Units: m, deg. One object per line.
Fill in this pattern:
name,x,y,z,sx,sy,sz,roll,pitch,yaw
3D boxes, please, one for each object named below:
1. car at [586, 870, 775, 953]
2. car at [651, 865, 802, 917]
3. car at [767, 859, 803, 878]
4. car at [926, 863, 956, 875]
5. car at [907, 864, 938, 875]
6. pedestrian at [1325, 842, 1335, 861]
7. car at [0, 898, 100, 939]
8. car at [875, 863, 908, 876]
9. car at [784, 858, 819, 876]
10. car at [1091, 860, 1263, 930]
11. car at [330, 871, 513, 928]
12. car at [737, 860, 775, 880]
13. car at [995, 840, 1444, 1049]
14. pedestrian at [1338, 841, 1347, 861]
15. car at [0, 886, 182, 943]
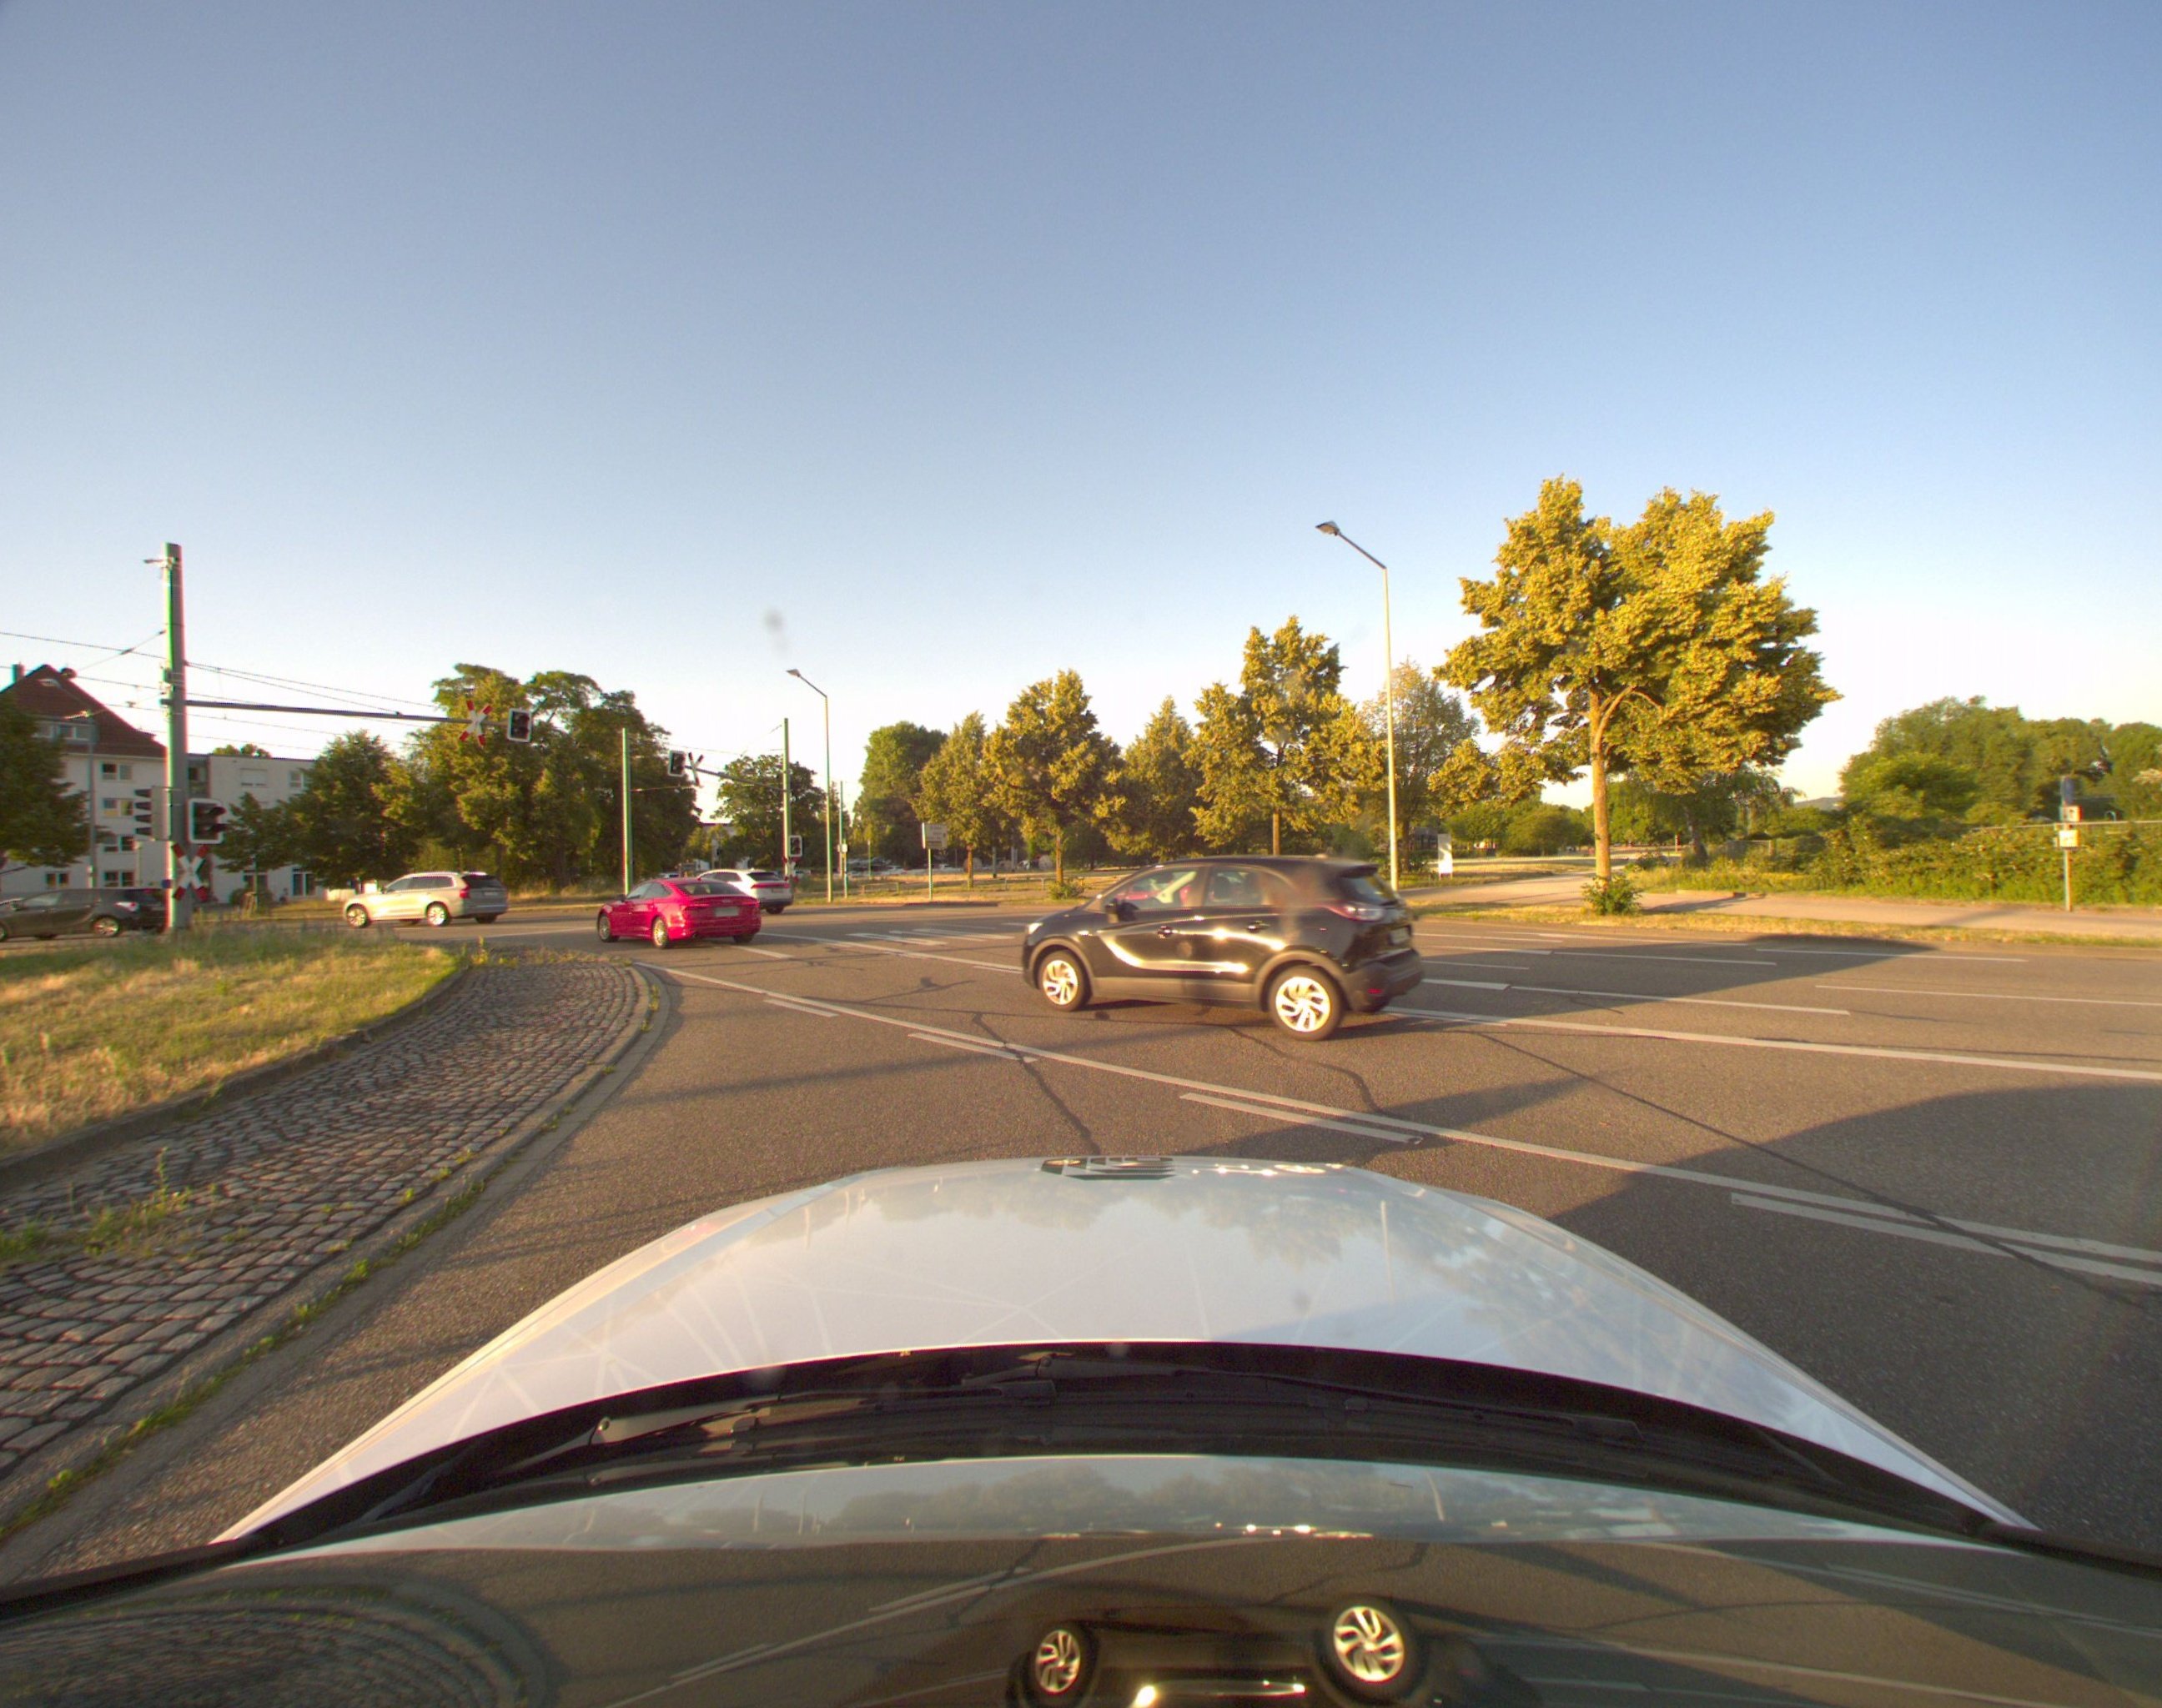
car,-8.459,1.090,17.037,4.522,1.460,1.857,-1,0,40
car,-12.716,1.297,29.233,4.884,1.710,1.923,-1,0,19
car,-34.623,1.706,95.168,3.948,2.098,2.013,-2,0,34
car,-20.049,2.111,116.779,3.948,1.551,2.013,-2,0,33
car,-22.180,2.178,113.939,3.948,1.551,2.013,-2,0,33
pedestrian,20.814,-0.199,68.064,0.526,1.626,0.584,-2,0,39
car,-41.140,2.509,31.681,3.487,1.443,1.543,-1,-1,-20
car,-25.288,2.099,108.758,3.948,1.551,2.013,-2,0,33
car,-33.505,1.546,97.608,3.948,2.098,2.013,-2,0,34
car,2.229,0.930,19.180,3.585,1.483,1.738,-2,-2,33
car,-21.763,1.471,26.962,4.876,1.754,1.927,-1,-1,9
car,-36.966,1.812,92.581,3.948,2.098,2.013,-2,0,34
car,1.245,0.749,8.191,4.082,1.613,1.733,-2,-2,36
pedestrian,21.791,-0.222,67.921,0.523,1.626,0.624,-2,0,37
car,-32.252,1.914,26.025,4.448,1.633,1.794,-1,-1,-15
